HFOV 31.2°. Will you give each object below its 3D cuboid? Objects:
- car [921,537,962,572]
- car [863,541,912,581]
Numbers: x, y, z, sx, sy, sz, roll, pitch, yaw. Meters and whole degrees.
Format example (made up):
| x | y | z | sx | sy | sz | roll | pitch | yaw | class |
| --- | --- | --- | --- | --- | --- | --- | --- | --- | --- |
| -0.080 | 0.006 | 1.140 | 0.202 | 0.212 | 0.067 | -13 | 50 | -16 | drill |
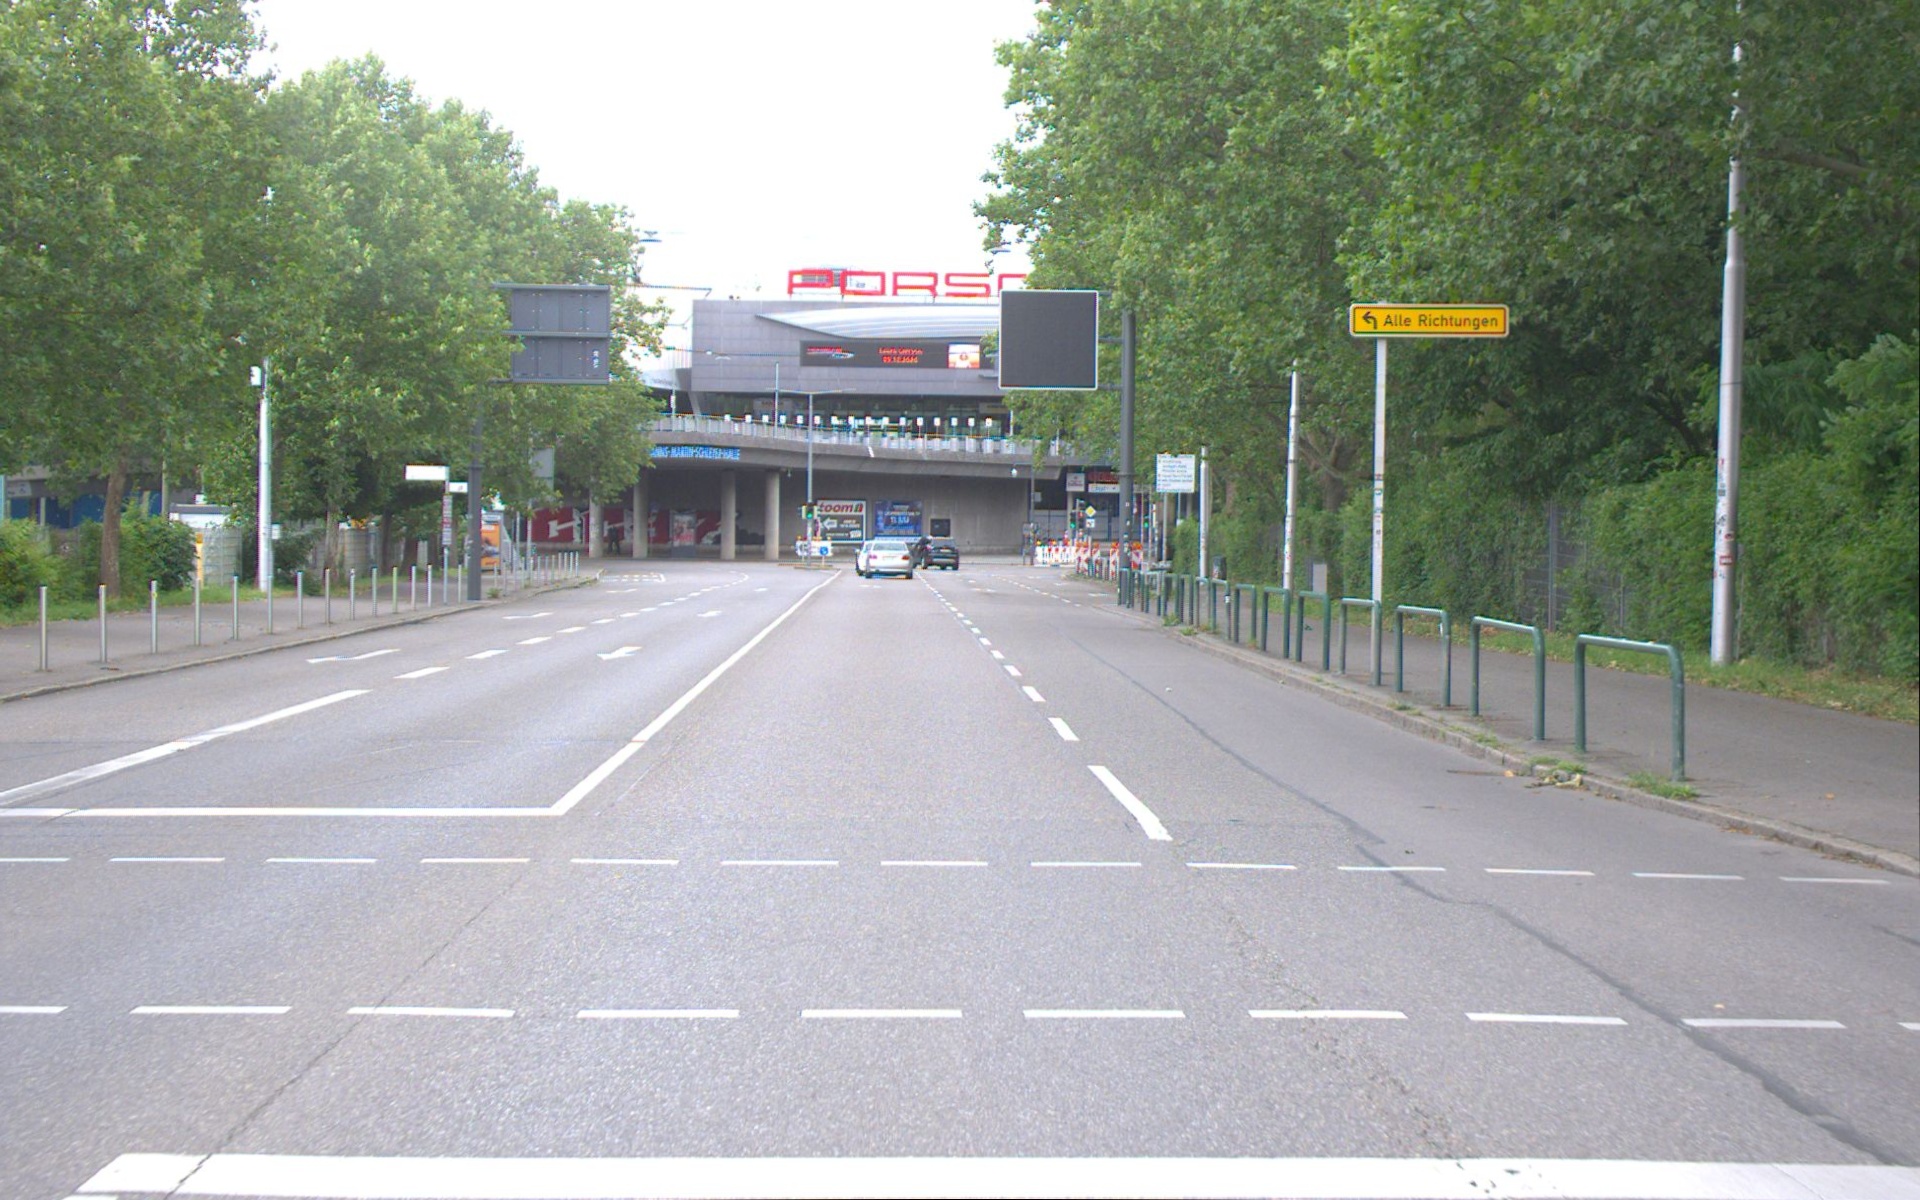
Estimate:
| x | y | z | sx | sy | sz | roll | pitch | yaw | class |
| --- | --- | --- | --- | --- | --- | --- | --- | --- | --- |
| -0.907 | -2.308 | 173.209 | 2.007 | 1.693 | 4.069 | 1 | 1 | 0 | car |
| -2.783 | -1.523 | 132.996 | 1.778 | 1.455 | 3.822 | 3 | 1 | 0 | car |
